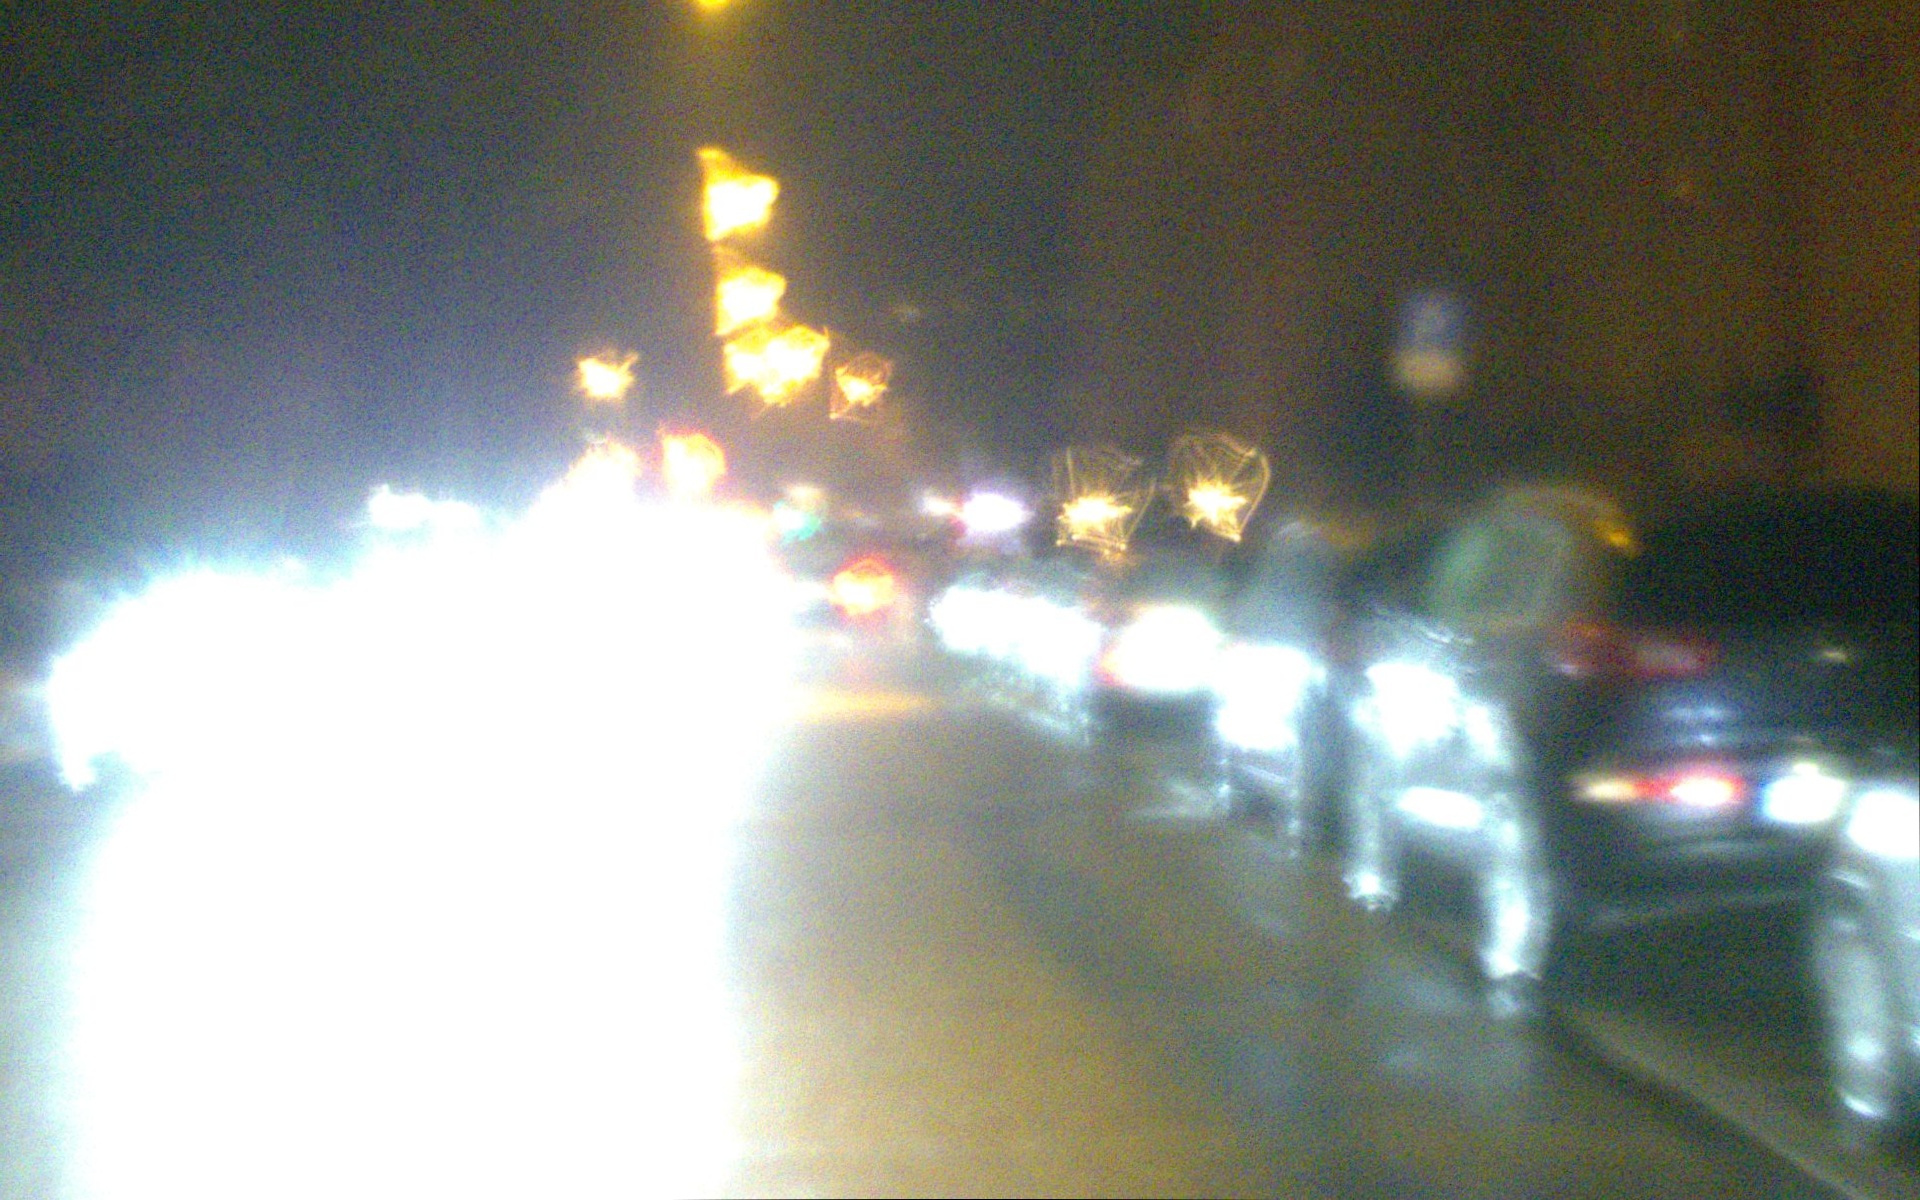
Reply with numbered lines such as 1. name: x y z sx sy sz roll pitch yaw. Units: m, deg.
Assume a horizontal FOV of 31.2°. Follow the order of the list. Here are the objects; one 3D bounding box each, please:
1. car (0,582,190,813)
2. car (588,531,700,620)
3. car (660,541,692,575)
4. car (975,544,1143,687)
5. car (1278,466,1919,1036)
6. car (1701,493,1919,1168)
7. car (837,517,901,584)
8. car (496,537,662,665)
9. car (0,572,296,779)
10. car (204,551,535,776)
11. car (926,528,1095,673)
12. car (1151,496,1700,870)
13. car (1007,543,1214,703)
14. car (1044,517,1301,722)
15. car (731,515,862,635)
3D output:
1. car: -6.781 0.668 24.405 1.578 1.452 4.644 -5 1 -1
2. car: -5.551 -0.461 60.840 1.820 1.458 4.866 -1 1 -4
3. car: -15.612 -2.327 189.265 1.535 1.704 3.804 -4 2 -3
4. car: 1.065 0.134 38.602 1.495 1.383 3.748 -4 2 -3
5. car: 2.502 0.374 12.500 1.881 1.567 4.529 -5 2 -4
6. car: 3.057 0.497 7.378 1.754 1.523 4.154 -5 2 -3
7. car: -2.506 -1.371 93.982 1.535 1.704 3.804 -4 2 -3
8. car: -4.705 -0.034 42.969 1.857 1.456 4.524 -1 1 -4
9. car: -7.207 0.612 30.823 1.612 1.530 4.301 -5 2 -1
10. car: -4.145 0.386 24.782 1.675 1.430 4.512 -2 1 -1
11. car: 0.613 -0.035 44.856 1.820 1.668 4.001 -4 2 -3
12. car: 2.270 0.314 18.064 1.881 1.567 4.589 -5 2 -4
13. car: 1.449 0.184 34.329 1.603 1.383 3.793 -5 1 -3
14. car: 1.694 0.096 28.761 1.628 1.461 4.511 -4 2 -2
15. car: -2.643 -0.440 56.057 1.993 1.678 4.001 -2 3 -2
